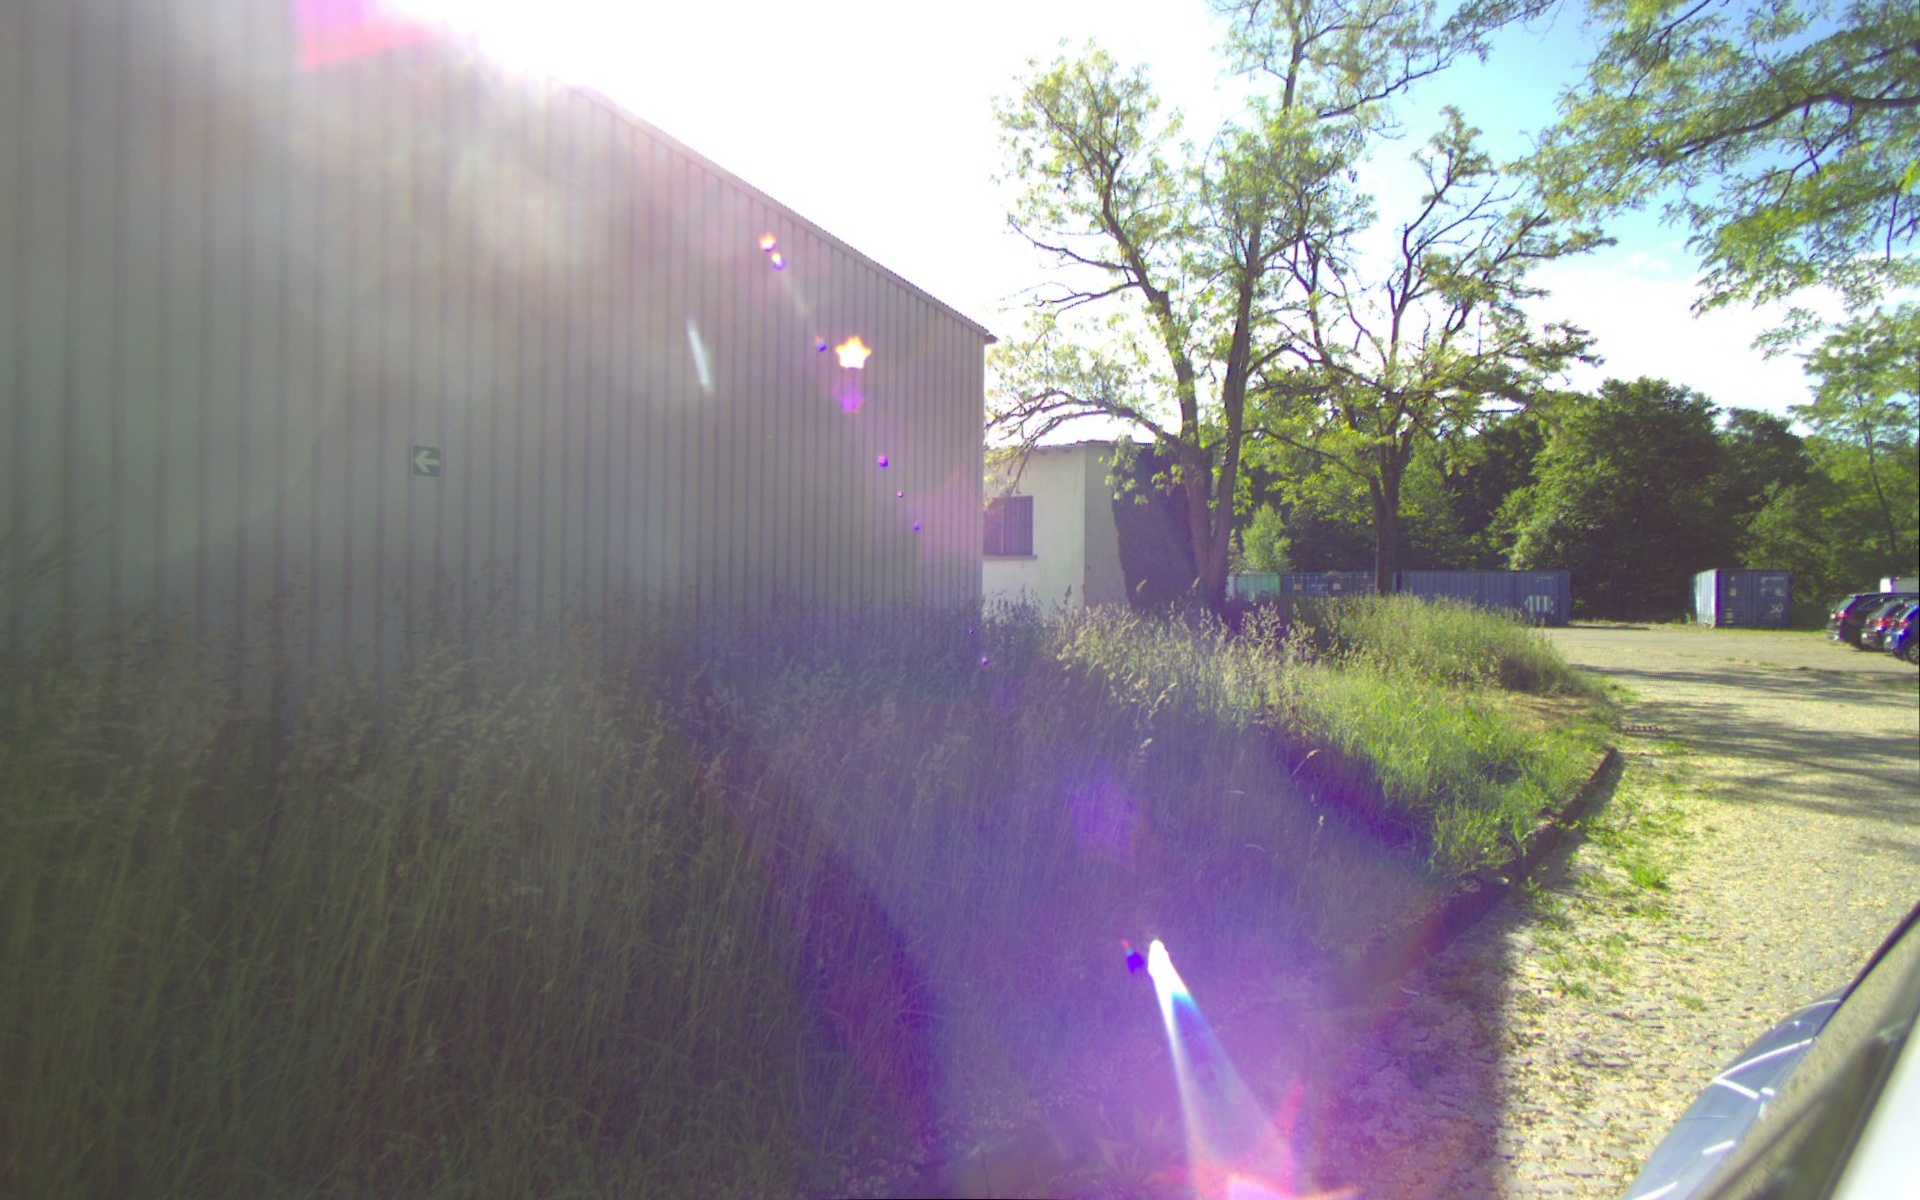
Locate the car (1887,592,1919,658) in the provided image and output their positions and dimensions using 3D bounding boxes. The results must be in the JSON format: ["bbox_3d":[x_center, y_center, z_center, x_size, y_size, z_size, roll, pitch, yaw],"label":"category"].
[{"bbox_3d":[23.661,0.527,22.935,3.640,1.512,1.692,-2,-1,36],"label":"car"}]

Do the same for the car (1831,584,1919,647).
[{"bbox_3d":[26.127,0.402,27.288,3.796,1.662,1.844,0,0,36],"label":"car"}]

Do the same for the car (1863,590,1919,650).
[{"bbox_3d":[25.033,0.474,25.119,3.637,1.469,1.812,-1,0,34],"label":"car"}]

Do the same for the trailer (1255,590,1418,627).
[{"bbox_3d":[16.877,0.345,45.482,6.446,1.536,2.822,0,1,33],"label":"trailer"}]

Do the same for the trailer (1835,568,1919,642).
[{"bbox_3d":[28.179,0.138,29.406,3.945,2.120,1.619,-1,-1,34],"label":"trailer"}]
